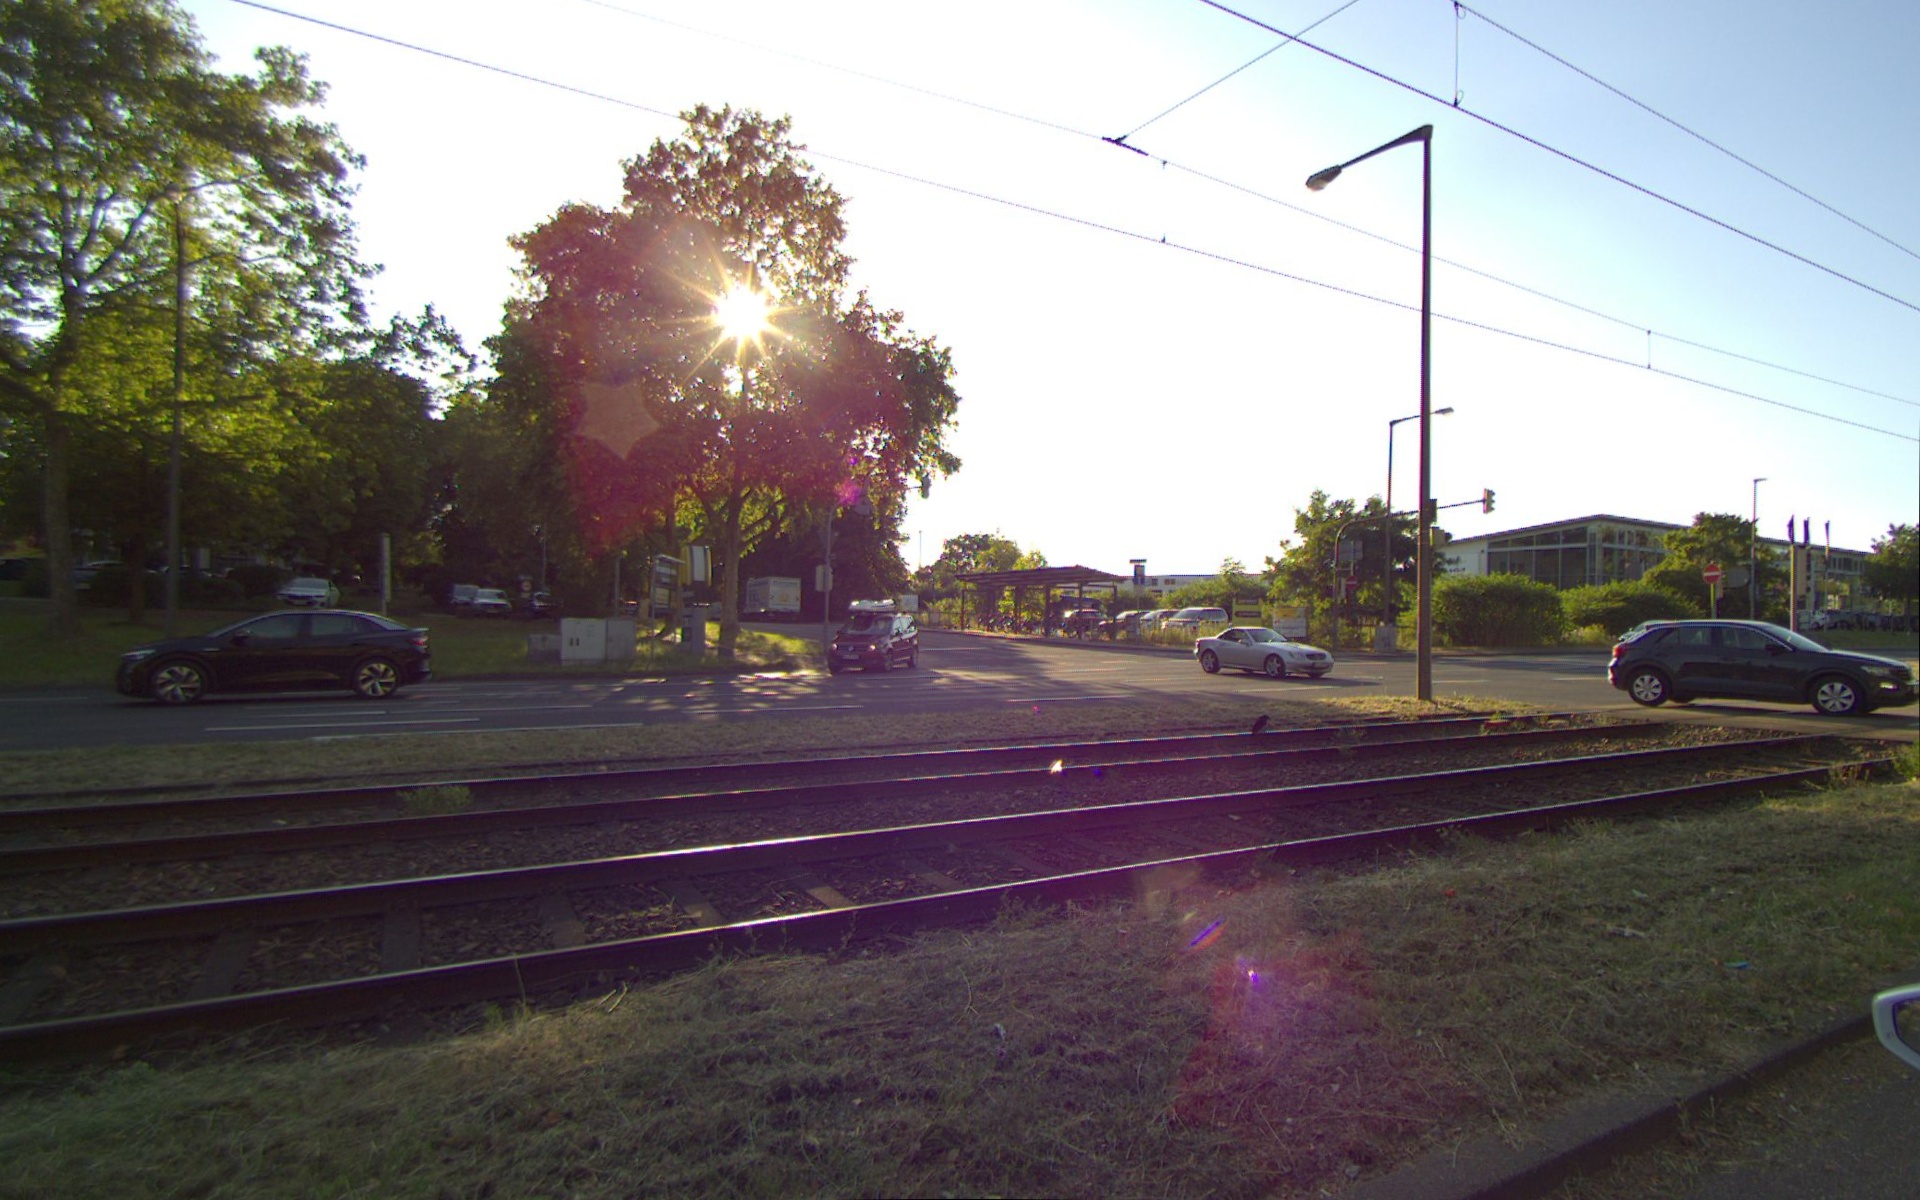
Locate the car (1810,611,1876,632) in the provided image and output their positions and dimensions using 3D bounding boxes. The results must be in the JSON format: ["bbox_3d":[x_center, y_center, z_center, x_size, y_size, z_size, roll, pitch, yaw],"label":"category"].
[{"bbox_3d":[71.984,1.742,81.945,3.940,1.577,1.735,1,0,40],"label":"car"}]

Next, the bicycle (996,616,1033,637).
[{"bbox_3d":[3.064,1.468,56.412,2.004,1.119,0.777,2,0,-30],"label":"bicycle"}]

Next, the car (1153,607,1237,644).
[{"bbox_3d":[12.357,1.320,52.736,4.123,1.846,1.853,1,0,-30],"label":"car"}]

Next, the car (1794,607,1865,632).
[{"bbox_3d":[65.174,1.437,75.372,3.940,1.727,1.735,1,0,40],"label":"car"}]

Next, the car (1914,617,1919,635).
[{"bbox_3d":[91.293,2.498,93.023,1.725,1.642,3.962,1,0,-34],"label":"car"}]

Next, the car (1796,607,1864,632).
[{"bbox_3d":[68.358,1.486,78.983,3.940,1.840,1.735,1,0,40],"label":"car"}]

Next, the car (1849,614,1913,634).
[{"bbox_3d":[79.609,2.060,86.893,3.940,1.577,1.735,1,0,40],"label":"car"}]

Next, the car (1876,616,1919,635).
[{"bbox_3d":[84.907,2.271,90.004,1.726,1.576,3.960,1,0,-35],"label":"car"}]

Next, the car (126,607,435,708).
[{"bbox_3d":[-11.744,0.952,17.586,4.295,1.565,1.718,2,-2,-38],"label":"car"}]

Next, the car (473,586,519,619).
[{"bbox_3d":[-22.939,0.106,49.587,1.916,1.530,4.071,2,0,-26],"label":"car"}]

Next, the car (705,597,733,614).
[{"bbox_3d":[-22.780,0.514,94.932,1.711,1.603,4.028,1,0,-27],"label":"car"}]

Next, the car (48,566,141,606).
[{"bbox_3d":[-36.092,-0.560,42.019,1.916,1.530,4.071,2,0,-26],"label":"car"}]

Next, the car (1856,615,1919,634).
[{"bbox_3d":[81.761,2.148,88.511,1.728,1.576,3.957,1,0,-37],"label":"car"}]

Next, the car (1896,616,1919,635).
[{"bbox_3d":[88.377,2.381,91.744,1.725,1.642,3.962,1,0,-34],"label":"car"}]

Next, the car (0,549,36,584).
[{"bbox_3d":[-53.864,-1.887,56.380,2.274,1.875,5.220,2,0,-36],"label":"car"}]

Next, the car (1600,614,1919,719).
[{"bbox_3d":[13.662,1.059,17.318,1.696,1.581,4.125,1,-2,-35],"label":"car"}]

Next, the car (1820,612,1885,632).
[{"bbox_3d":[74.204,1.838,83.612,3.940,1.577,1.735,1,0,40],"label":"car"}]

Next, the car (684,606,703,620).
[{"bbox_3d":[-33.288,1.564,125.340,1.887,1.602,4.036,2,0,-21],"label":"car"}]

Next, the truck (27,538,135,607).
[{"bbox_3d":[-44.518,-1.346,51.063,2.468,3.209,6.187,2,0,-26],"label":"truck"}]

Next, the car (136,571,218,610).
[{"bbox_3d":[-33.960,-0.398,43.683,1.916,1.530,4.071,2,0,-26],"label":"car"}]

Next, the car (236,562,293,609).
[{"bbox_3d":[-37.301,-0.756,54.006,2.138,2.334,4.369,2,0,-31],"label":"car"}]

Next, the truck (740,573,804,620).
[{"bbox_3d":[-15.052,-0.272,79.788,2.782,3.520,8.291,1,0,-27],"label":"truck"}]

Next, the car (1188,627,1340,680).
[{"bbox_3d":[8.135,1.392,27.217,1.595,1.311,3.951,1,-2,-30],"label":"car"}]

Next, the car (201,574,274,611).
[{"bbox_3d":[-32.118,-0.324,44.755,1.916,1.530,4.071,2,0,-26],"label":"car"}]

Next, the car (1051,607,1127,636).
[{"bbox_3d":[7.711,1.284,59.993,4.123,1.604,1.968,1,0,-30],"label":"car"}]

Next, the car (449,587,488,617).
[{"bbox_3d":[-28.577,0.121,58.493,1.836,1.637,4.036,2,0,-23],"label":"car"}]

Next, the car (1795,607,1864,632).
[{"bbox_3d":[66.721,1.487,77.171,3.940,1.727,1.735,1,0,40],"label":"car"}]

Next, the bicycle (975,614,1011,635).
[{"bbox_3d":[1.923,1.445,59.048,2.004,1.119,0.777,2,0,-30],"label":"bicycle"}]

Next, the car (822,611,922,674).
[{"bbox_3d":[-2.485,1.187,29.514,1.806,1.656,4.314,1,0,11],"label":"car"}]

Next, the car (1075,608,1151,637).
[{"bbox_3d":[8.816,1.277,57.799,4.123,1.604,1.853,1,0,-30],"label":"car"}]

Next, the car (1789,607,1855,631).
[{"bbox_3d":[69.320,1.503,80.829,3.940,1.840,1.735,1,0,40],"label":"car"}]

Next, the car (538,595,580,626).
[{"bbox_3d":[-20.444,0.518,51.137,1.604,1.477,3.878,2,0,-27],"label":"car"}]

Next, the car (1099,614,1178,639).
[{"bbox_3d":[9.934,1.480,55.867,4.123,1.284,1.853,1,0,-30],"label":"car"}]

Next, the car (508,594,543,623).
[{"bbox_3d":[-26.250,0.498,60.762,1.836,1.637,4.036,2,0,-23],"label":"car"}]

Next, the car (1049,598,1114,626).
[{"bbox_3d":[9.282,0.927,76.664,4.715,2.041,1.853,1,0,-30],"label":"car"}]

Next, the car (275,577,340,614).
[{"bbox_3d":[-29.437,-0.224,45.437,1.916,1.530,4.071,2,0,-26],"label":"car"}]
